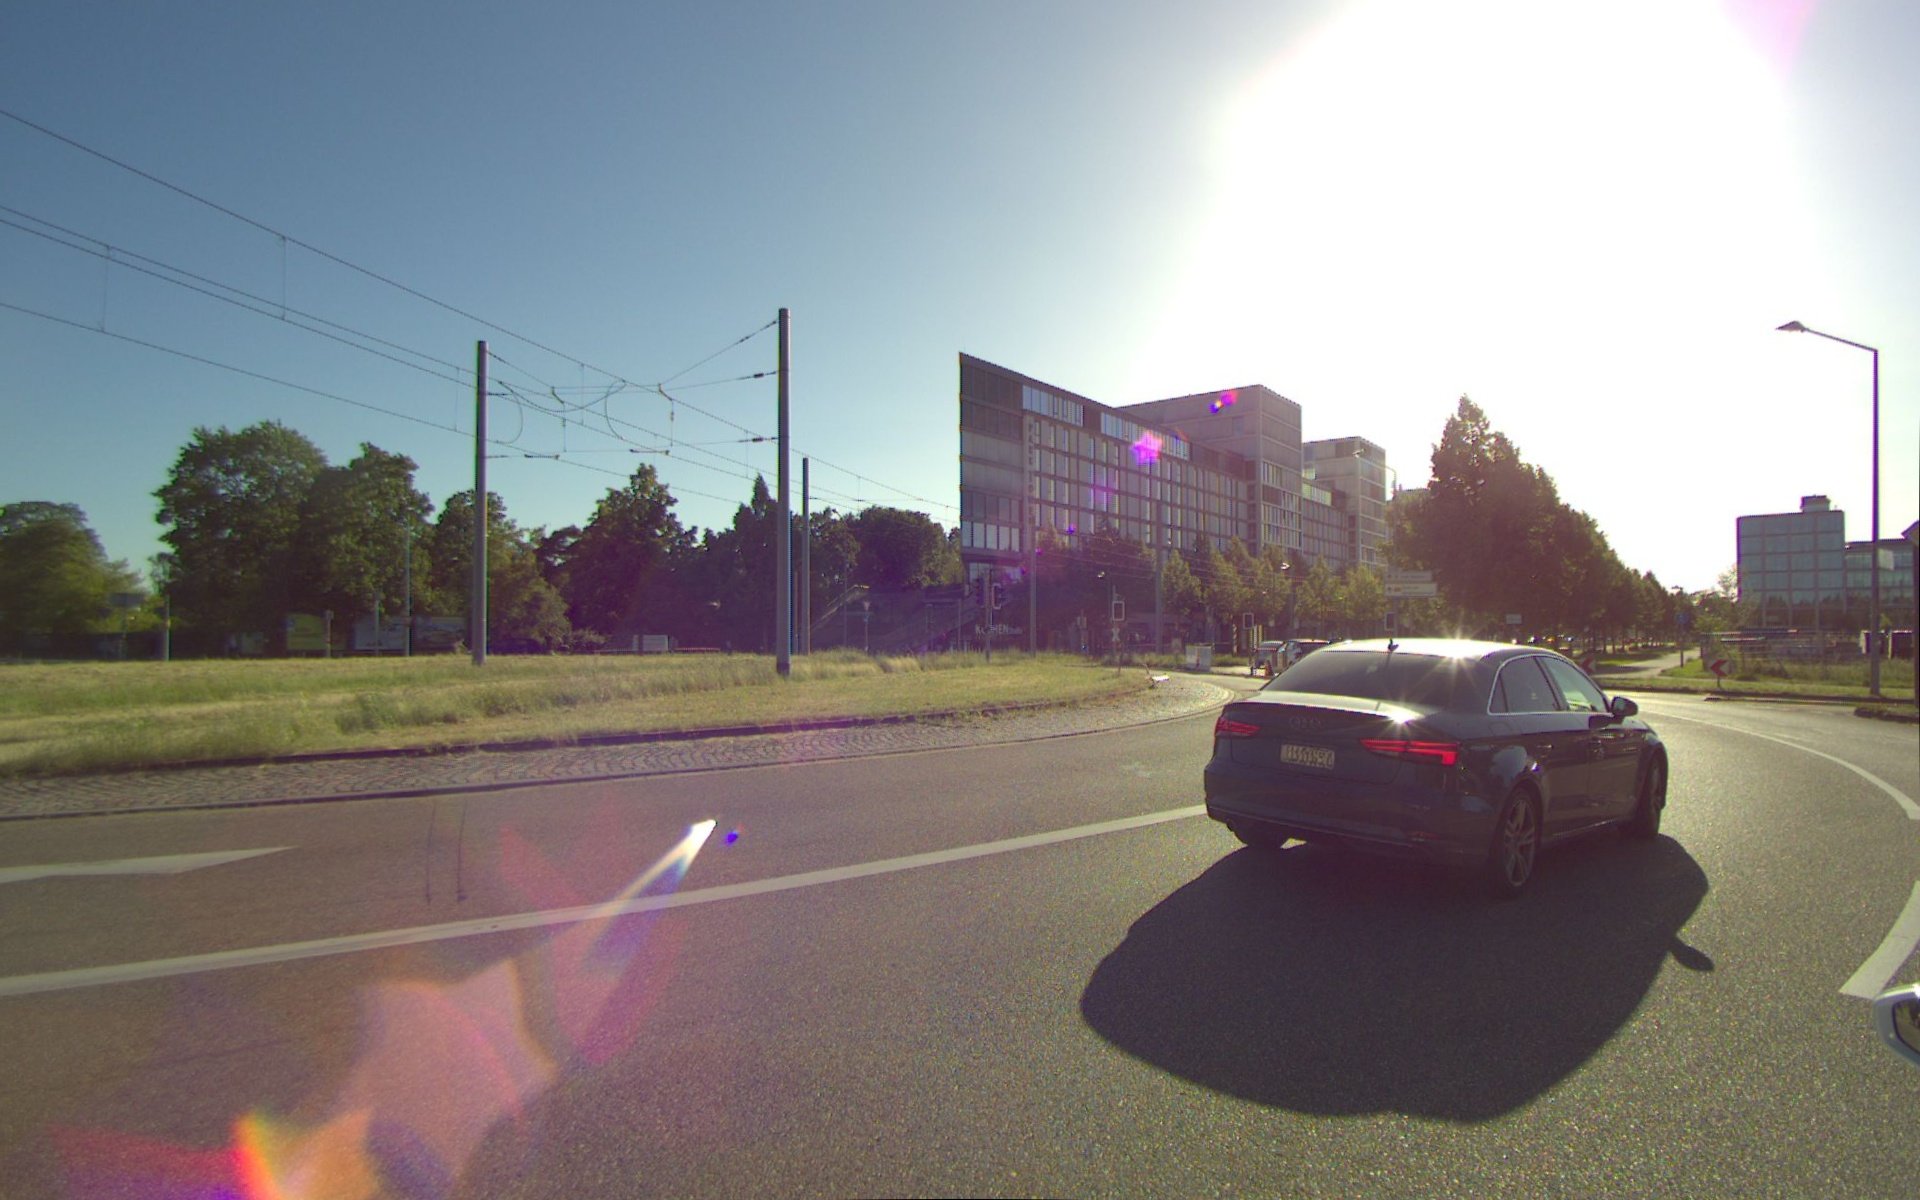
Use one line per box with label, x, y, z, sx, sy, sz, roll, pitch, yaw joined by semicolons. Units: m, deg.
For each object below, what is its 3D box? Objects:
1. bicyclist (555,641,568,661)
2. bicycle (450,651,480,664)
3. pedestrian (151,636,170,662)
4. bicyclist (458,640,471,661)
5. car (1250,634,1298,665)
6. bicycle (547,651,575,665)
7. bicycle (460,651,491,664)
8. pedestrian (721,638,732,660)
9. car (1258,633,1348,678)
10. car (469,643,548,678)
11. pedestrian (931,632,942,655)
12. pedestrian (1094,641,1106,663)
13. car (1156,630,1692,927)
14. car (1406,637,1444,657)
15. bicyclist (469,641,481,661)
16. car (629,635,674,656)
bicyclist;-29.301;3.737;73.883;0.743;1.487;0.585;1;-2;-14
bicycle;-34.531;3.982;70.092;1.862;0.864;0.614;0;-2;-24
pedestrian;-62.916;3.866;79.055;0.805;2.040;0.899;0;-2;33
bicyclist;-34.572;3.516;70.090;0.826;1.411;0.614;0;-2;-24
car;17.365;2.700;55.377;1.962;1.596;4.405;-1;-2;25
bicycle;-29.319;4.287;73.869;1.838;1.025;0.585;1;-2;-14
bicycle;-33.544;3.987;69.540;1.862;0.864;0.614;0;-2;-24
pedestrian;-18.326;3.842;78.788;0.750;1.651;0.880;0;-2;-24
car;12.773;2.040;37.618;1.774;1.481;3.806;0;0;-6
car;-24.728;3.298;55.107;3.865;1.808;1.764;1;-2;-25
pedestrian;-2.115;3.924;90.055;0.630;2.040;0.830;-1;-2;40
pedestrian;9.562;3.532;68.402;0.547;1.485;0.675;-1;-2;36
car;3.398;0.921;6.926;4.324;1.398;1.745;1;-1;-41
car;39.426;3.969;85.093;1.969;1.596;4.390;-2;-2;38
bicyclist;-33.592;3.521;69.525;0.709;1.411;0.614;0;-2;-24
car;-28.151;4.170;91.793;3.673;1.829;1.837;0;-2;-7
